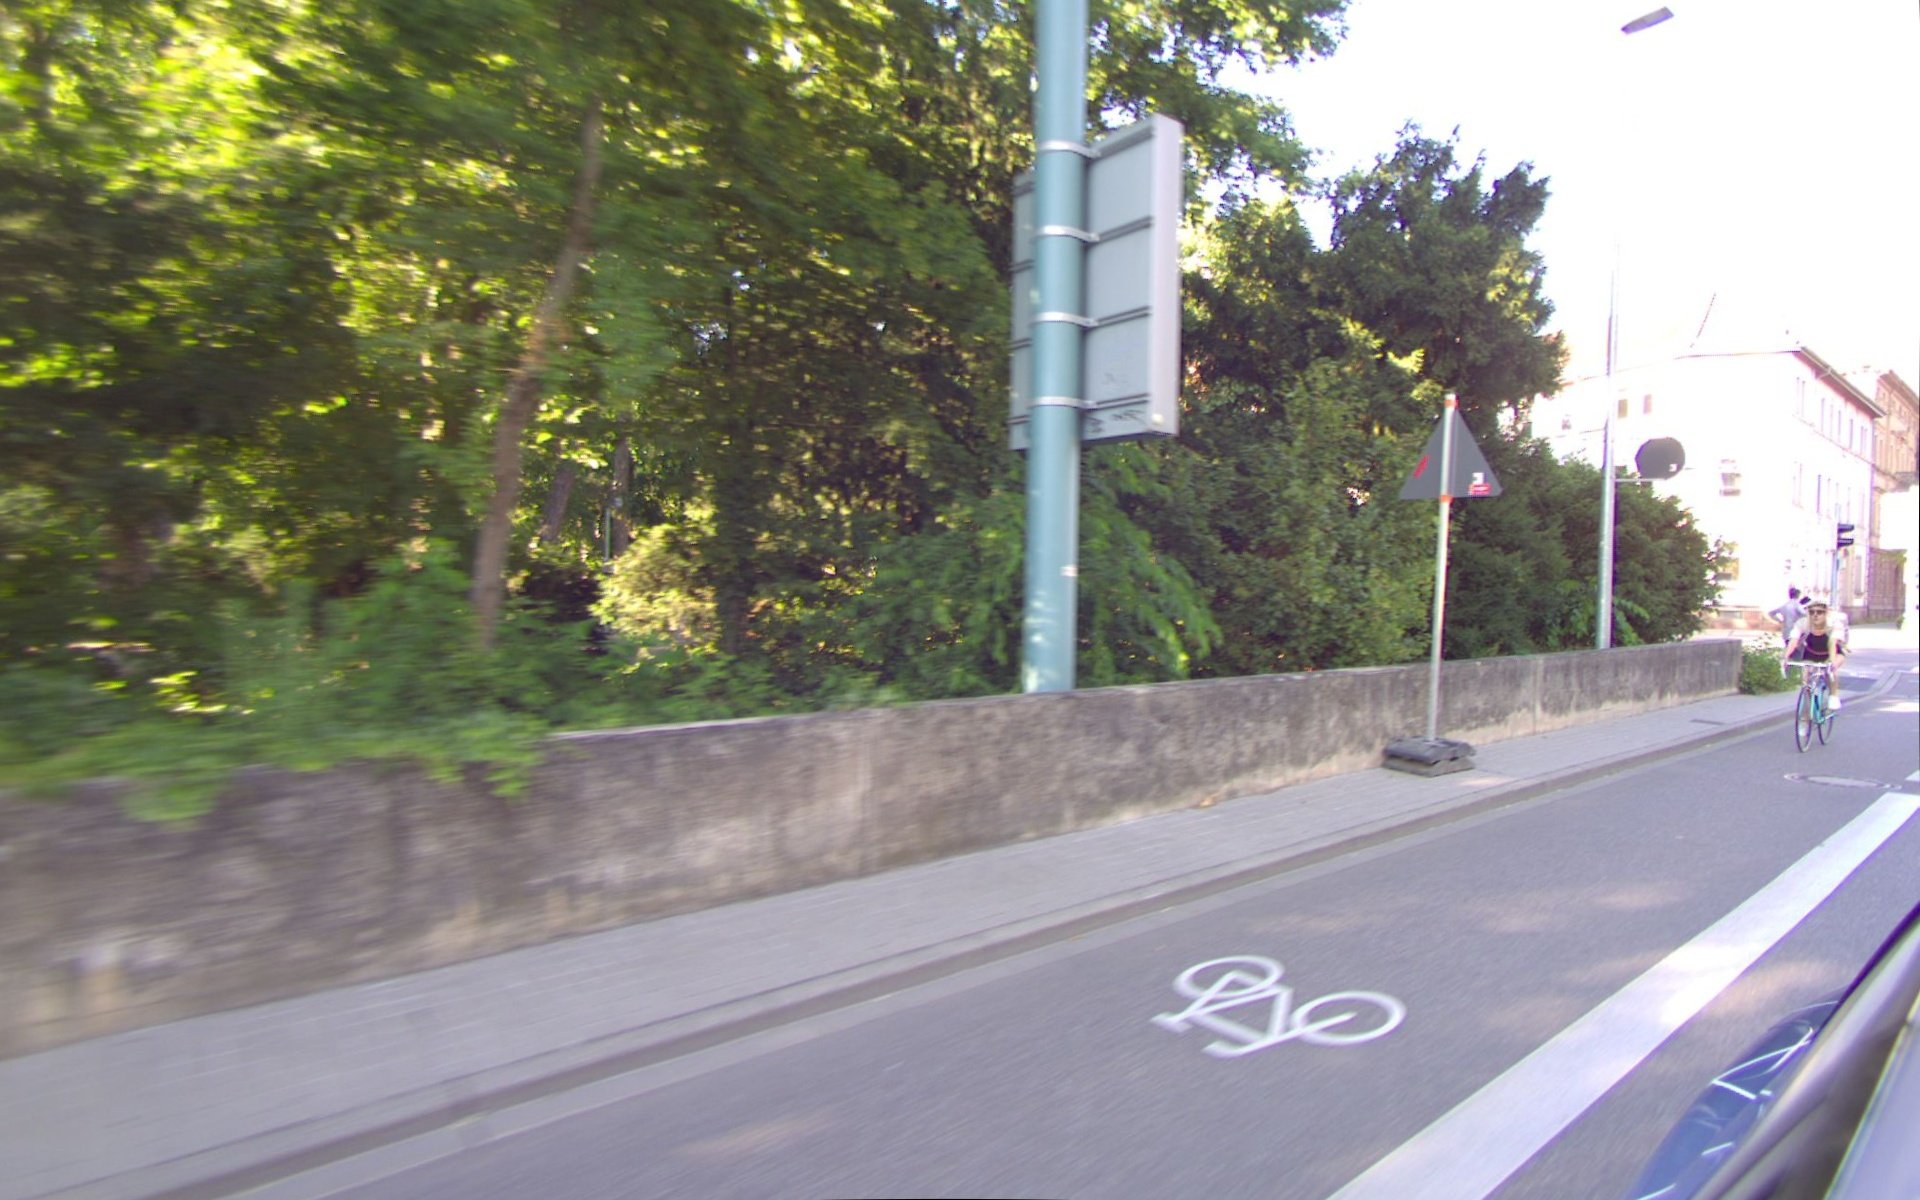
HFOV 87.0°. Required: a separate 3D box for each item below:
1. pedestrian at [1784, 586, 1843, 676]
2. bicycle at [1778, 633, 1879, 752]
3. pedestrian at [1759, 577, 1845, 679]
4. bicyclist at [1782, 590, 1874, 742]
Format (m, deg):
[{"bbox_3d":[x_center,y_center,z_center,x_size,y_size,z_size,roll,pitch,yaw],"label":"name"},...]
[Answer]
[{"bbox_3d":[16.471,0.582,19.538,0.765,1.656,0.759,4,3,41],"label":"pedestrian"},{"bbox_3d":[9.208,0.931,10.706,1.810,1.111,0.521,0,-2,-41],"label":"bicycle"},{"bbox_3d":[15.863,0.506,19.088,0.847,1.824,0.903,3,2,16],"label":"pedestrian"},{"bbox_3d":[9.203,0.666,10.725,1.062,1.509,0.553,1,1,-41],"label":"bicyclist"}]
